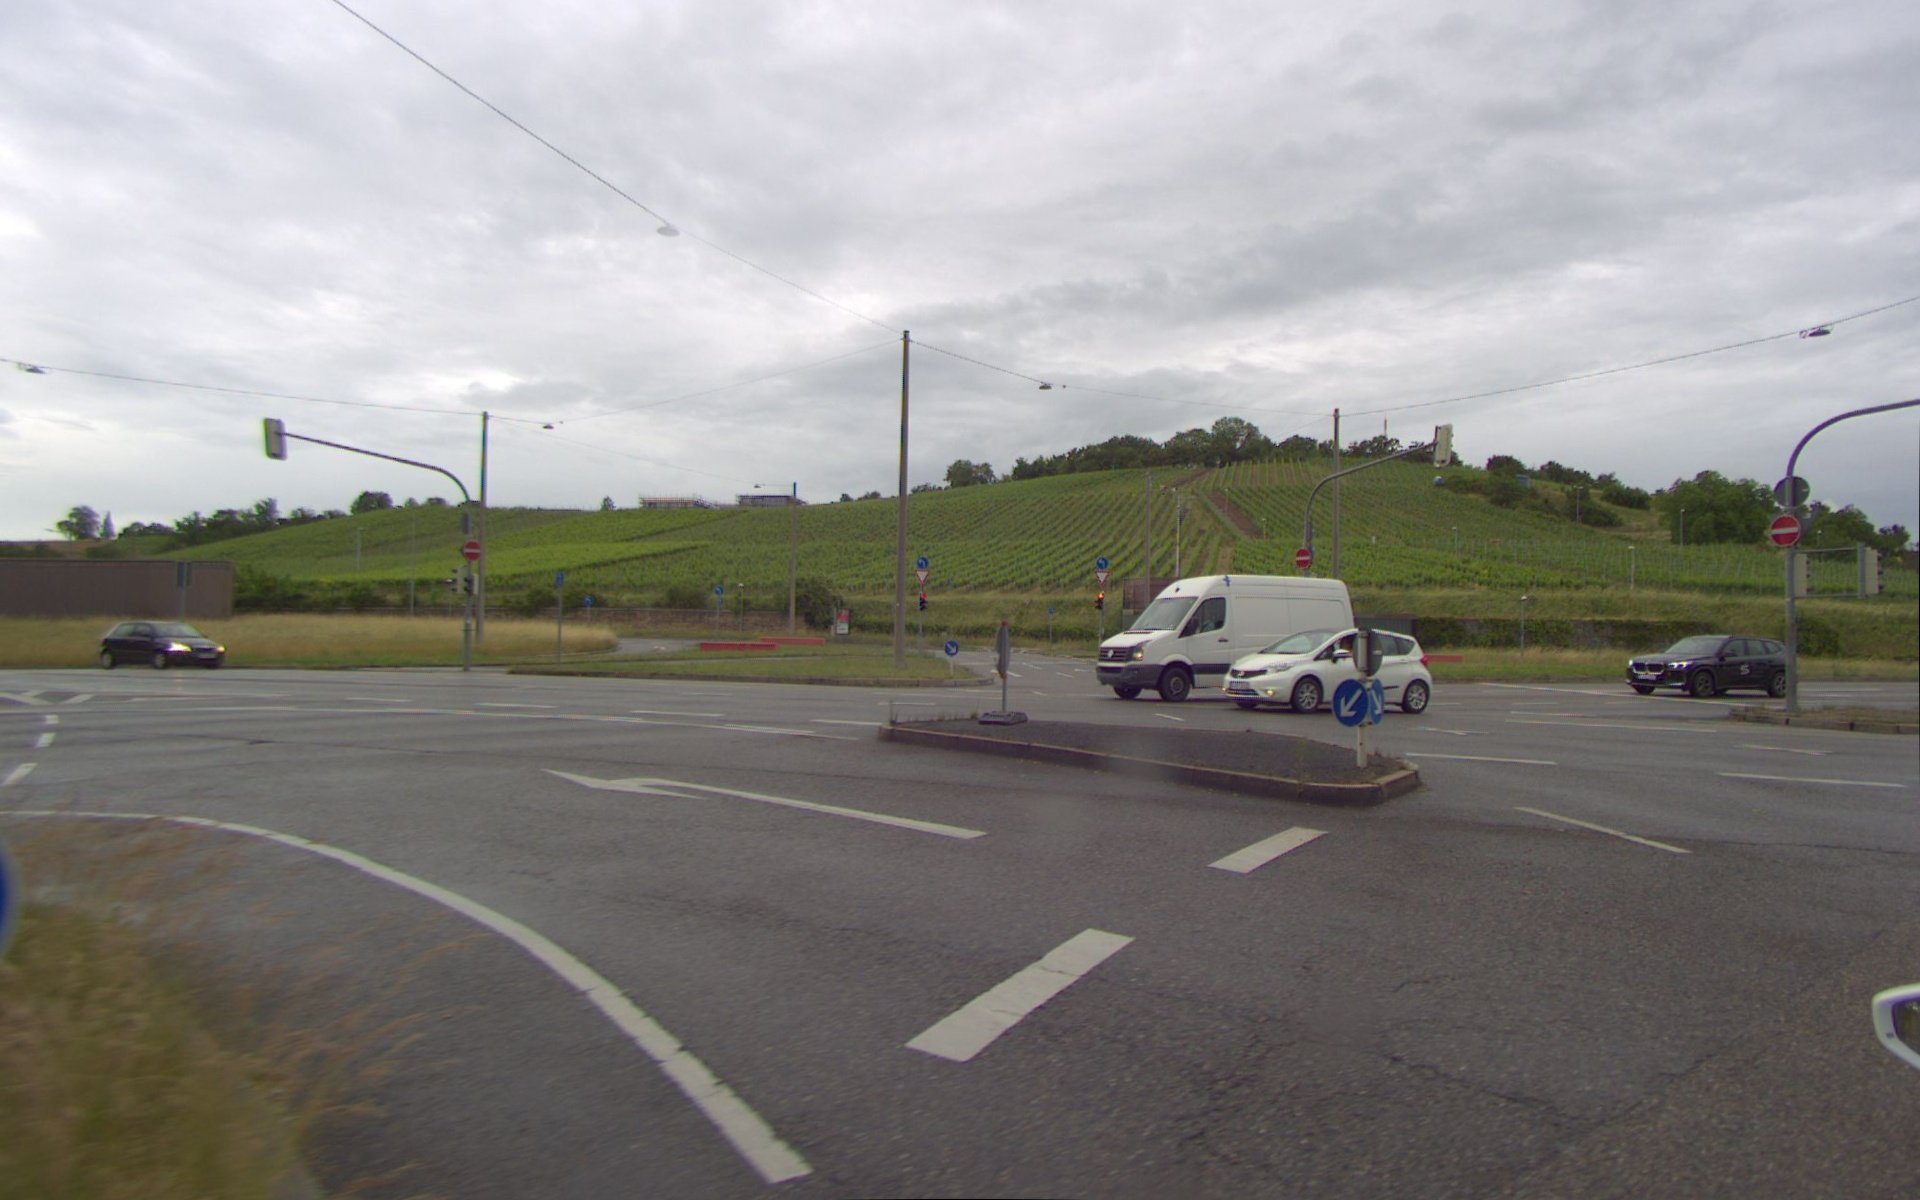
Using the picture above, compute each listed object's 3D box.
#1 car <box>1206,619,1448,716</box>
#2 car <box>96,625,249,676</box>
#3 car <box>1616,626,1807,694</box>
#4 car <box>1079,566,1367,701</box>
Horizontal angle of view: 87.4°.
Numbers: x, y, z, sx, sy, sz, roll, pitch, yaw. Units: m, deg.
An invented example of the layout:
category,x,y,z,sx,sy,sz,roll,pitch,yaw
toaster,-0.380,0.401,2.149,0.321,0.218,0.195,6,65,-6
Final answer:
category,x,y,z,sx,sy,sz,roll,pitch,yaw
car,6.623,1.192,18.159,3.942,1.533,1.747,2,0,-22
car,-24.200,1.515,30.893,3.920,1.307,1.800,2,0,18
car,20.217,1.605,27.047,4.435,1.658,1.775,2,0,-16
car,5.698,0.775,21.544,6.084,2.592,1.989,2,-2,-24
